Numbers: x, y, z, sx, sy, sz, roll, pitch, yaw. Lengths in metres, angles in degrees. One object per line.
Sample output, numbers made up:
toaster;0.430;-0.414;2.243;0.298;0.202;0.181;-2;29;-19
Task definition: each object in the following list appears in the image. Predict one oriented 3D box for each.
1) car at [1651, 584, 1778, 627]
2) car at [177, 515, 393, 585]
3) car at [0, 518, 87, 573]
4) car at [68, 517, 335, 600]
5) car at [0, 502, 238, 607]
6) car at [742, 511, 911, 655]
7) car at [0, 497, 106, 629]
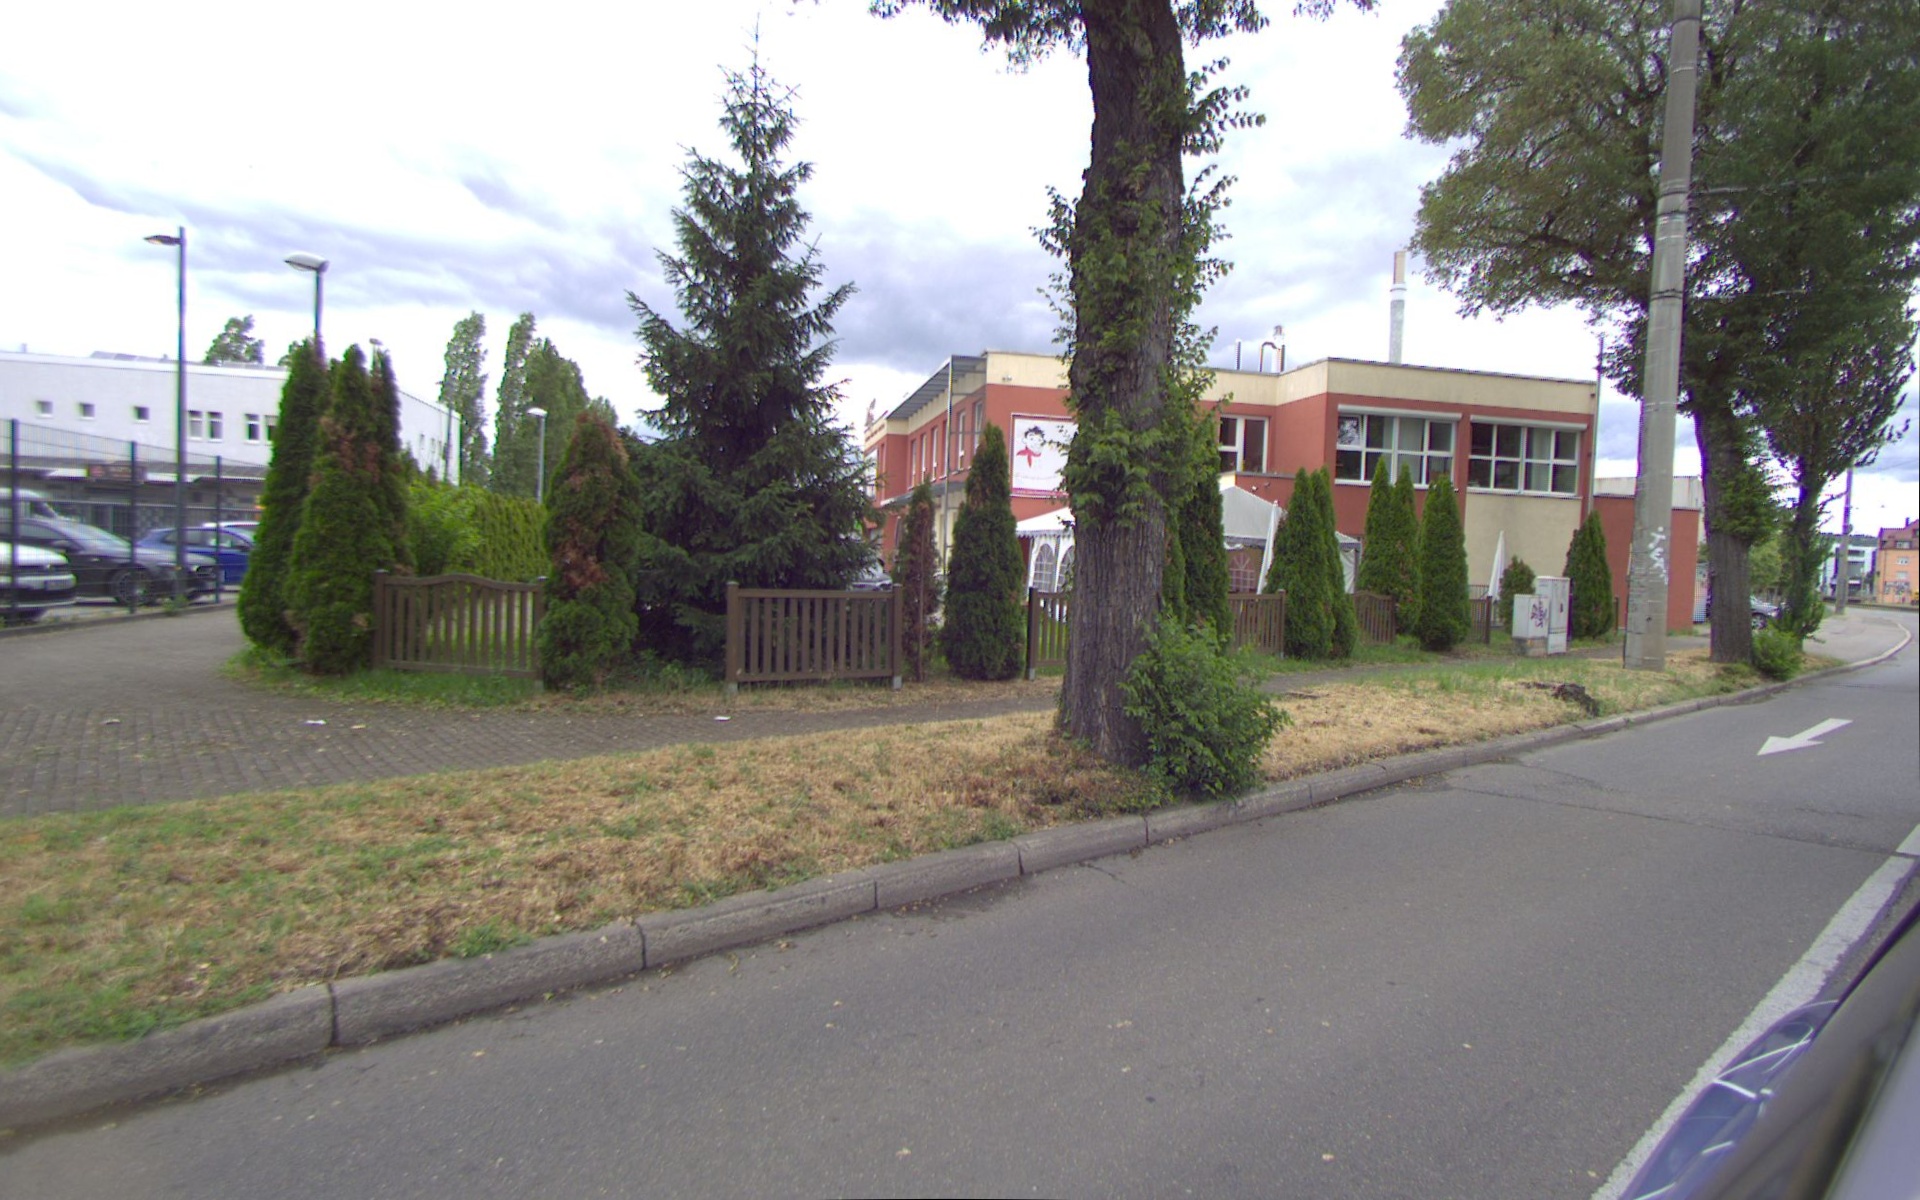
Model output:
car;30.854;0.204;41.438;3.986;1.666;1.867;0;0;43
car;-17.978;-1.316;27.196;4.407;1.686;2.005;1;2;-14
car;-30.723;-1.716;32.072;4.181;1.670;2.004;0;0;-17
car;-17.021;-0.919;22.963;4.407;1.686;2.005;1;2;-14
car;-15.559;-0.805;17.657;4.407;1.686;2.005;1;2;-14
car;-2.304;-0.264;16.474;1.958;2.039;4.008;0;0;-19
car;-14.435;-0.555;13.351;4.407;1.686;2.005;1;2;-14
